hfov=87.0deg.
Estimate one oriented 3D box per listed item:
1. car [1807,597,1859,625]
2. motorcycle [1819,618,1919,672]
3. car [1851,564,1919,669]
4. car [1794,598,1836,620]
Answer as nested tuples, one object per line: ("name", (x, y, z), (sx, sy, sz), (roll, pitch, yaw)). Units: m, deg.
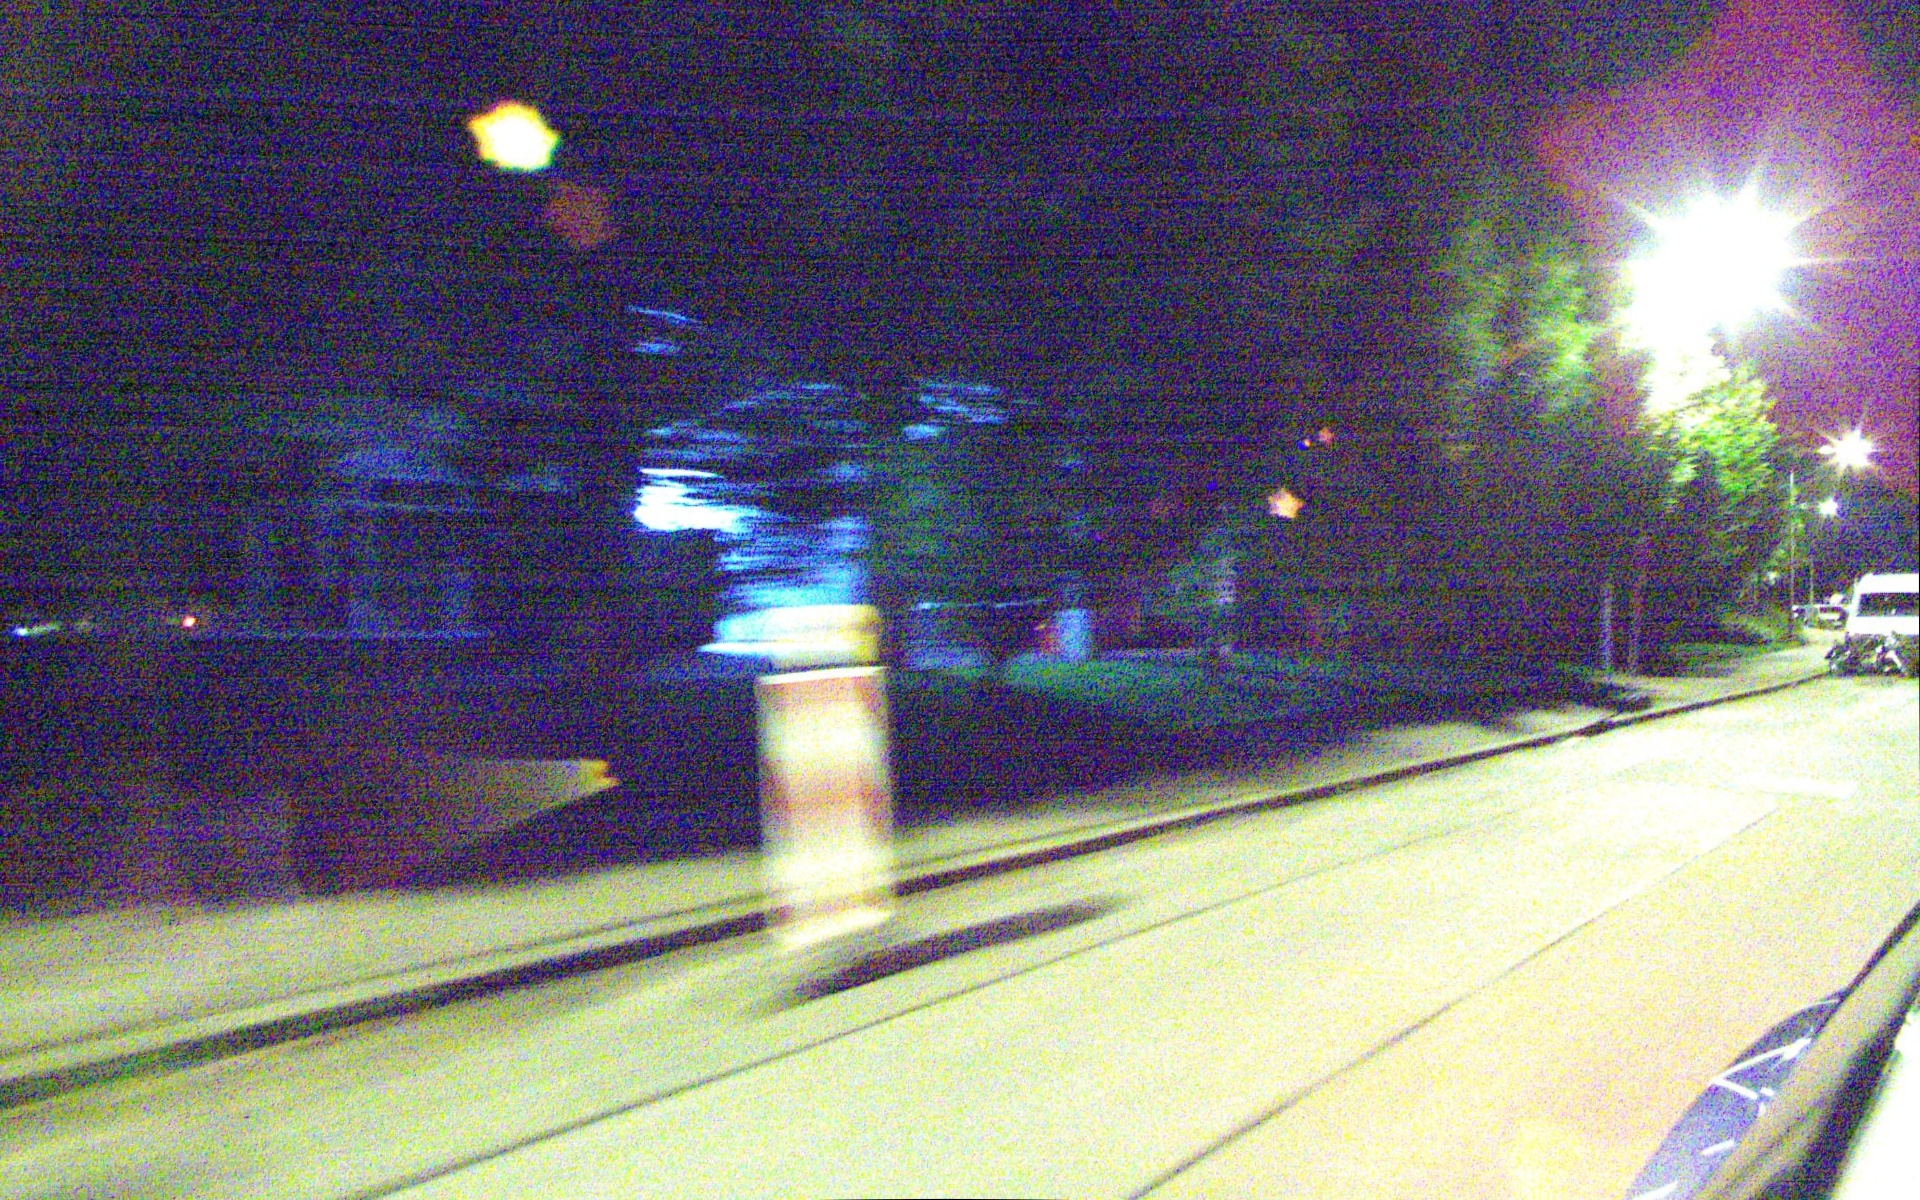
("car", (66.573, 0.875, 77.282), (1.983, 2.039, 5.297), (-1, -1, 30))
("motorcycle", (21.984, 1.048, 24.215), (0.753, 1.199, 2.188), (0, -1, -9))
("car", (25.329, 0.416, 26.658), (5.946, 2.559, 2.023), (0, -1, -42))
("car", (70.681, 0.740, 83.715), (1.718, 1.802, 4.275), (-1, 0, 27))
